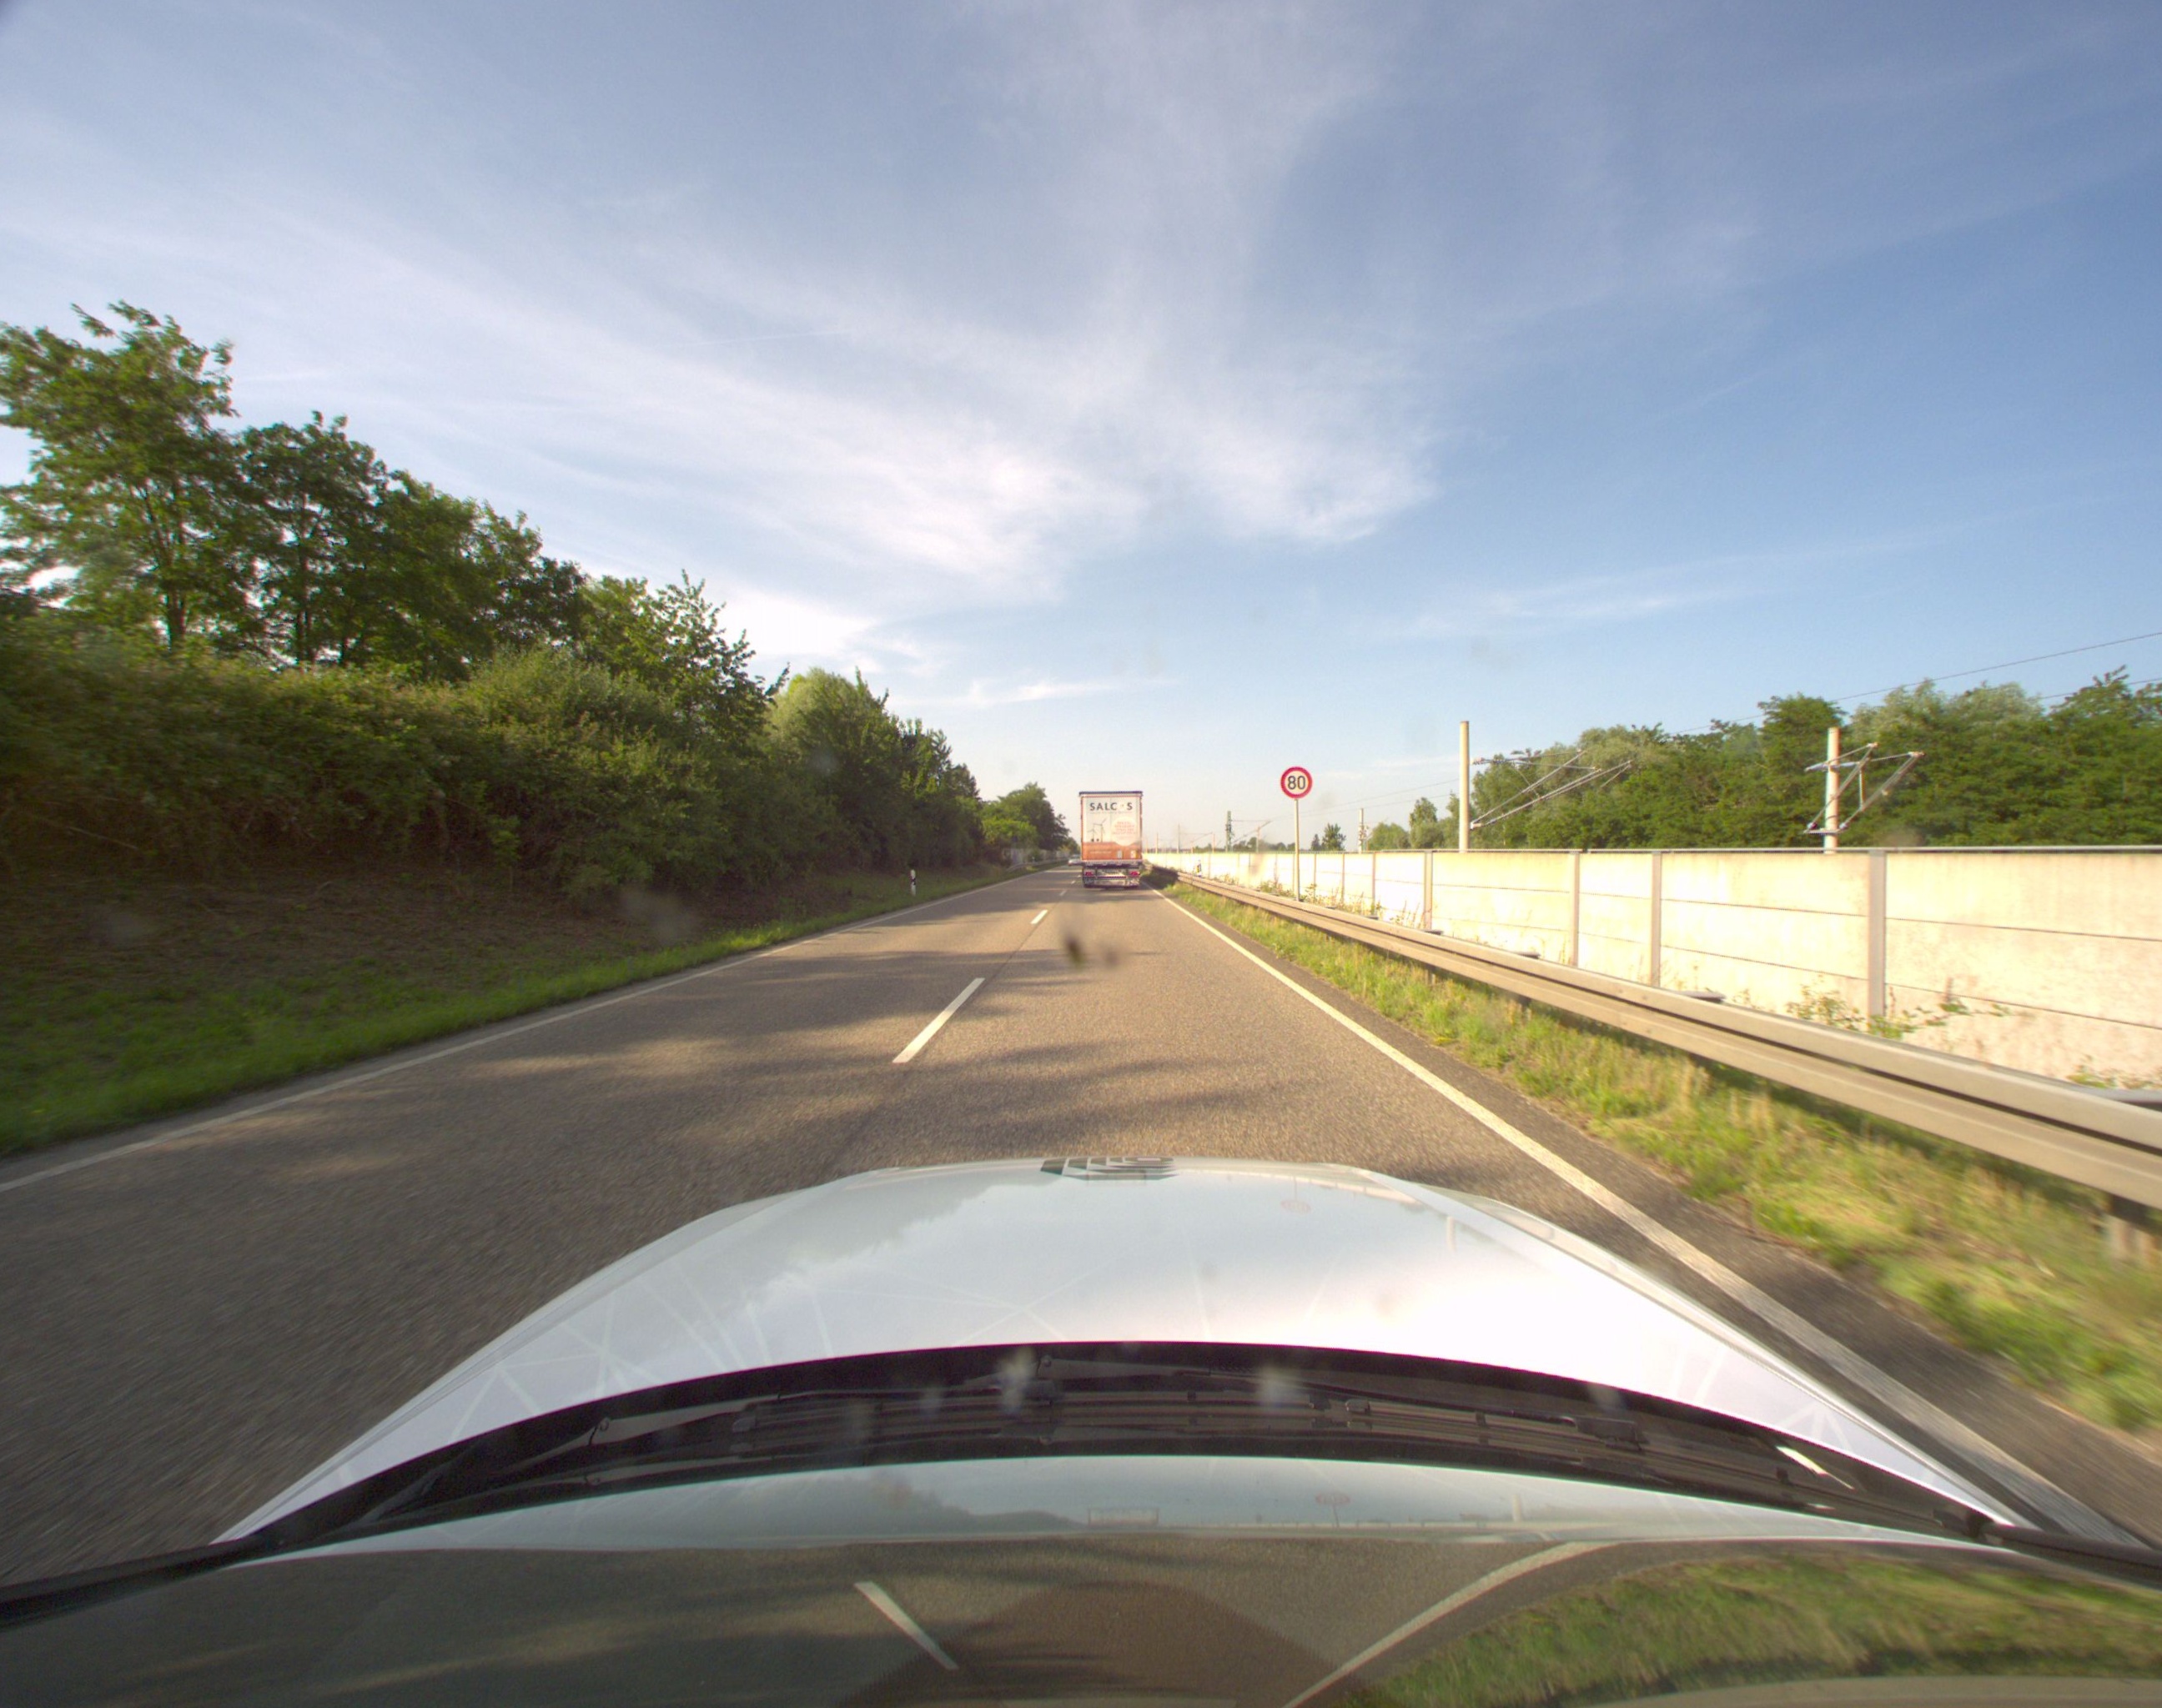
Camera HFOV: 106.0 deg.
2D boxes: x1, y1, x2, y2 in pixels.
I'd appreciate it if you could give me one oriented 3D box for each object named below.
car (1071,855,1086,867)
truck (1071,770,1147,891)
[{"bbox_3d":[-0.305,0.837,101.188,1.713,1.394,4.362,-1,0,2],"label":"car"},{"bbox_3d":[1.170,-0.996,39.134,3.023,4.920,11.683,-1,0,0],"label":"truck"}]
